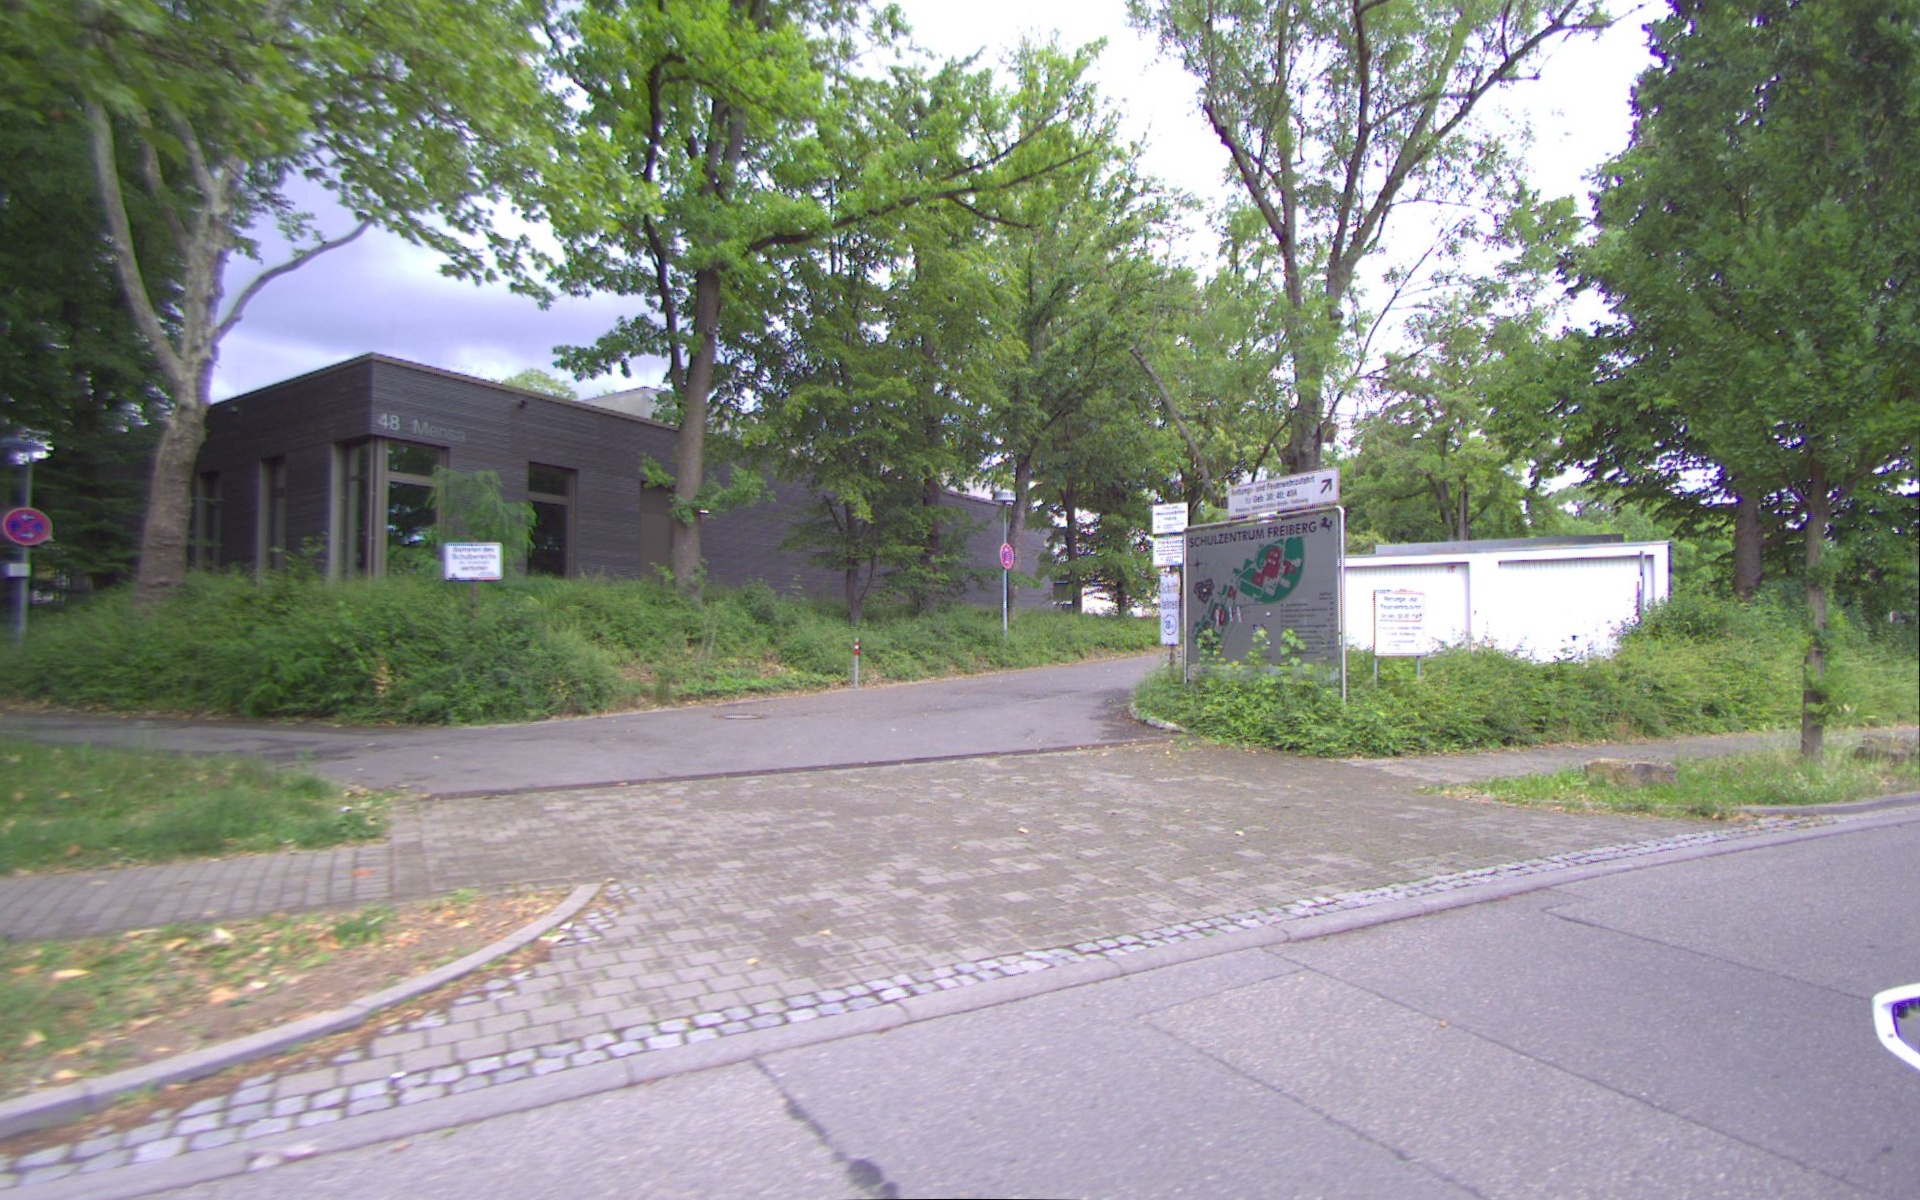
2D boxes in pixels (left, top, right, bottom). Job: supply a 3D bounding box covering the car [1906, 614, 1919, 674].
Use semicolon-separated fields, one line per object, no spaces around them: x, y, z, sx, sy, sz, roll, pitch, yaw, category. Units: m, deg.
26.930;1.176;26.875;1.717;1.643;3.861;-2;-2;34;car
